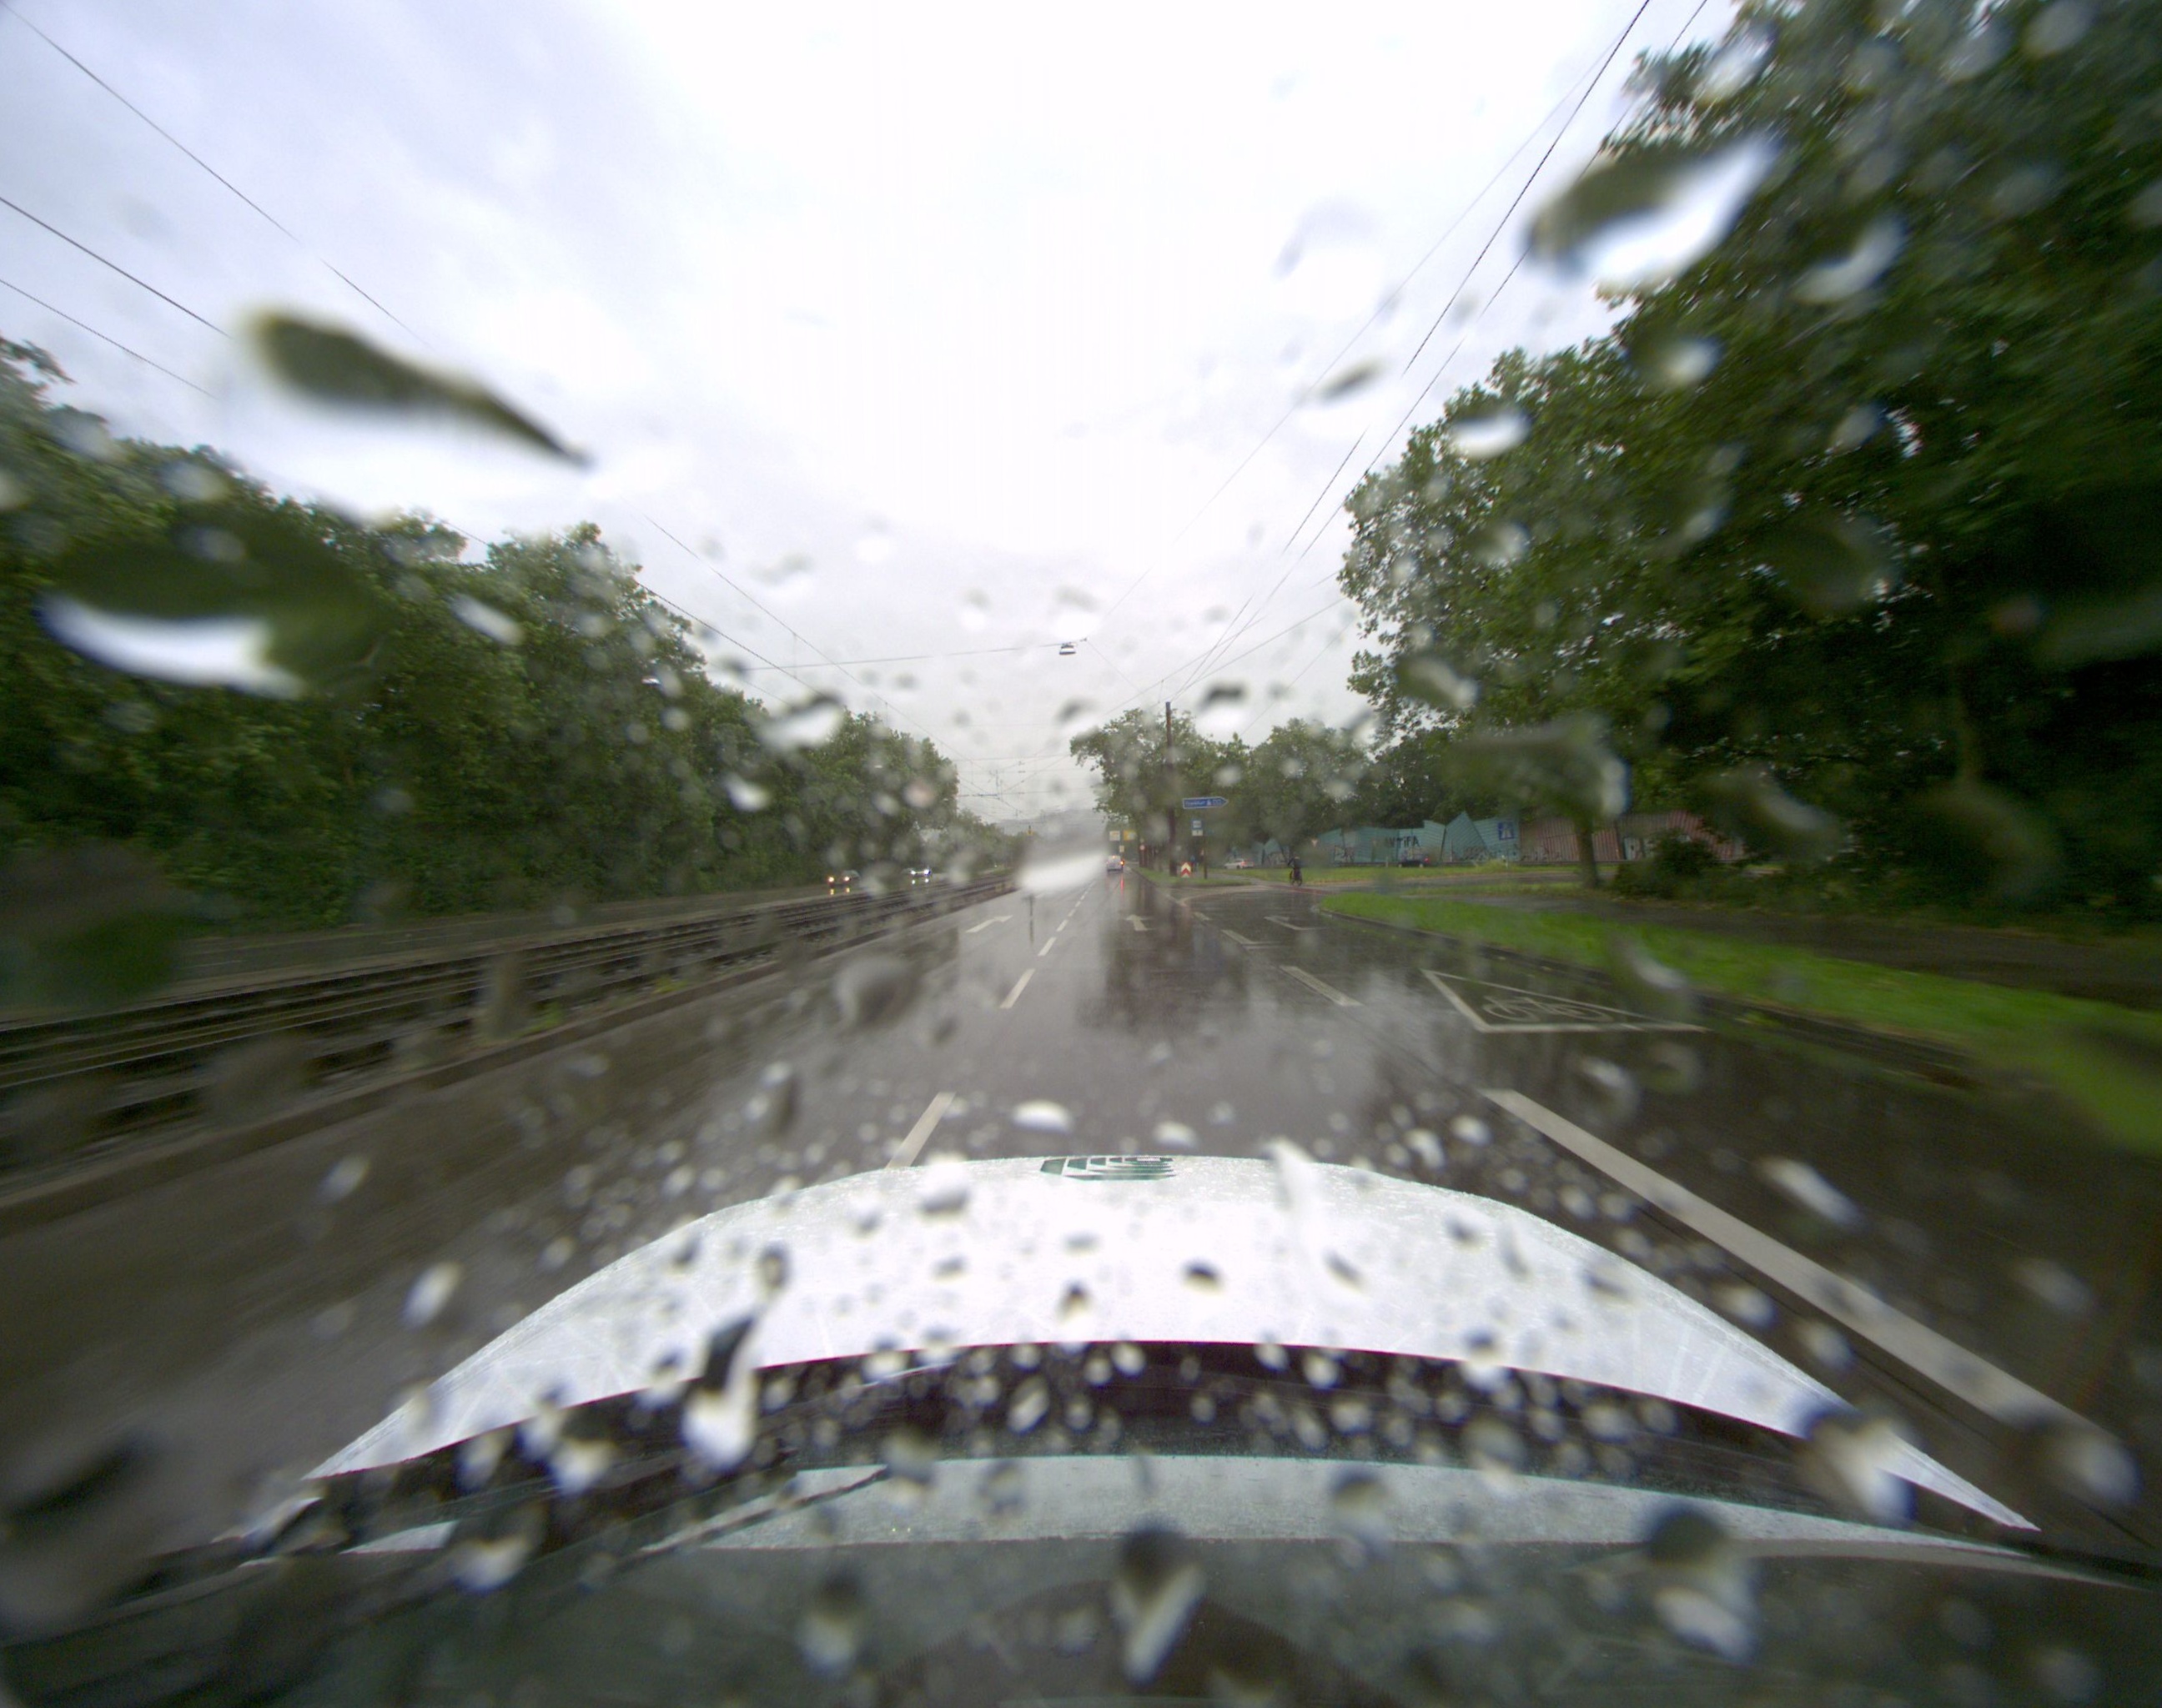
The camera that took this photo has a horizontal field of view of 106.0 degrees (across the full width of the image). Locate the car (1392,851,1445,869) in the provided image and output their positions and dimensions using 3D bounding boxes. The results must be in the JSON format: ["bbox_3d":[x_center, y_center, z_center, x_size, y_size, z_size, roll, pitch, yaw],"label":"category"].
[{"bbox_3d":[31.572,0.592,76.325,1.872,1.536,4.480,-1,-1,-24],"label":"car"}]

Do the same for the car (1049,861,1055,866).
[{"bbox_3d":[-9.116,2.882,254.491,1.938,1.616,4.984,-2,0,-2],"label":"car"}]

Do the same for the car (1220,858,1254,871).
[{"bbox_3d":[19.734,1.322,102.909,1.958,1.536,4.429,-1,-1,-25],"label":"car"}]

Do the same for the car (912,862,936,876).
[{"bbox_3d":[-18.006,1.713,93.448,1.685,1.523,4.955,-1,0,0],"label":"car"}]

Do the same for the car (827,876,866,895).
[{"bbox_3d":[-18.819,2.511,65.476,1.765,1.330,4.380,-1,0,0],"label":"car"}]

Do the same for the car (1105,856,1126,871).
[{"bbox_3d":[3.646,1.012,86.964,2.070,1.420,4.001,-3,-1,2],"label":"car"}]
